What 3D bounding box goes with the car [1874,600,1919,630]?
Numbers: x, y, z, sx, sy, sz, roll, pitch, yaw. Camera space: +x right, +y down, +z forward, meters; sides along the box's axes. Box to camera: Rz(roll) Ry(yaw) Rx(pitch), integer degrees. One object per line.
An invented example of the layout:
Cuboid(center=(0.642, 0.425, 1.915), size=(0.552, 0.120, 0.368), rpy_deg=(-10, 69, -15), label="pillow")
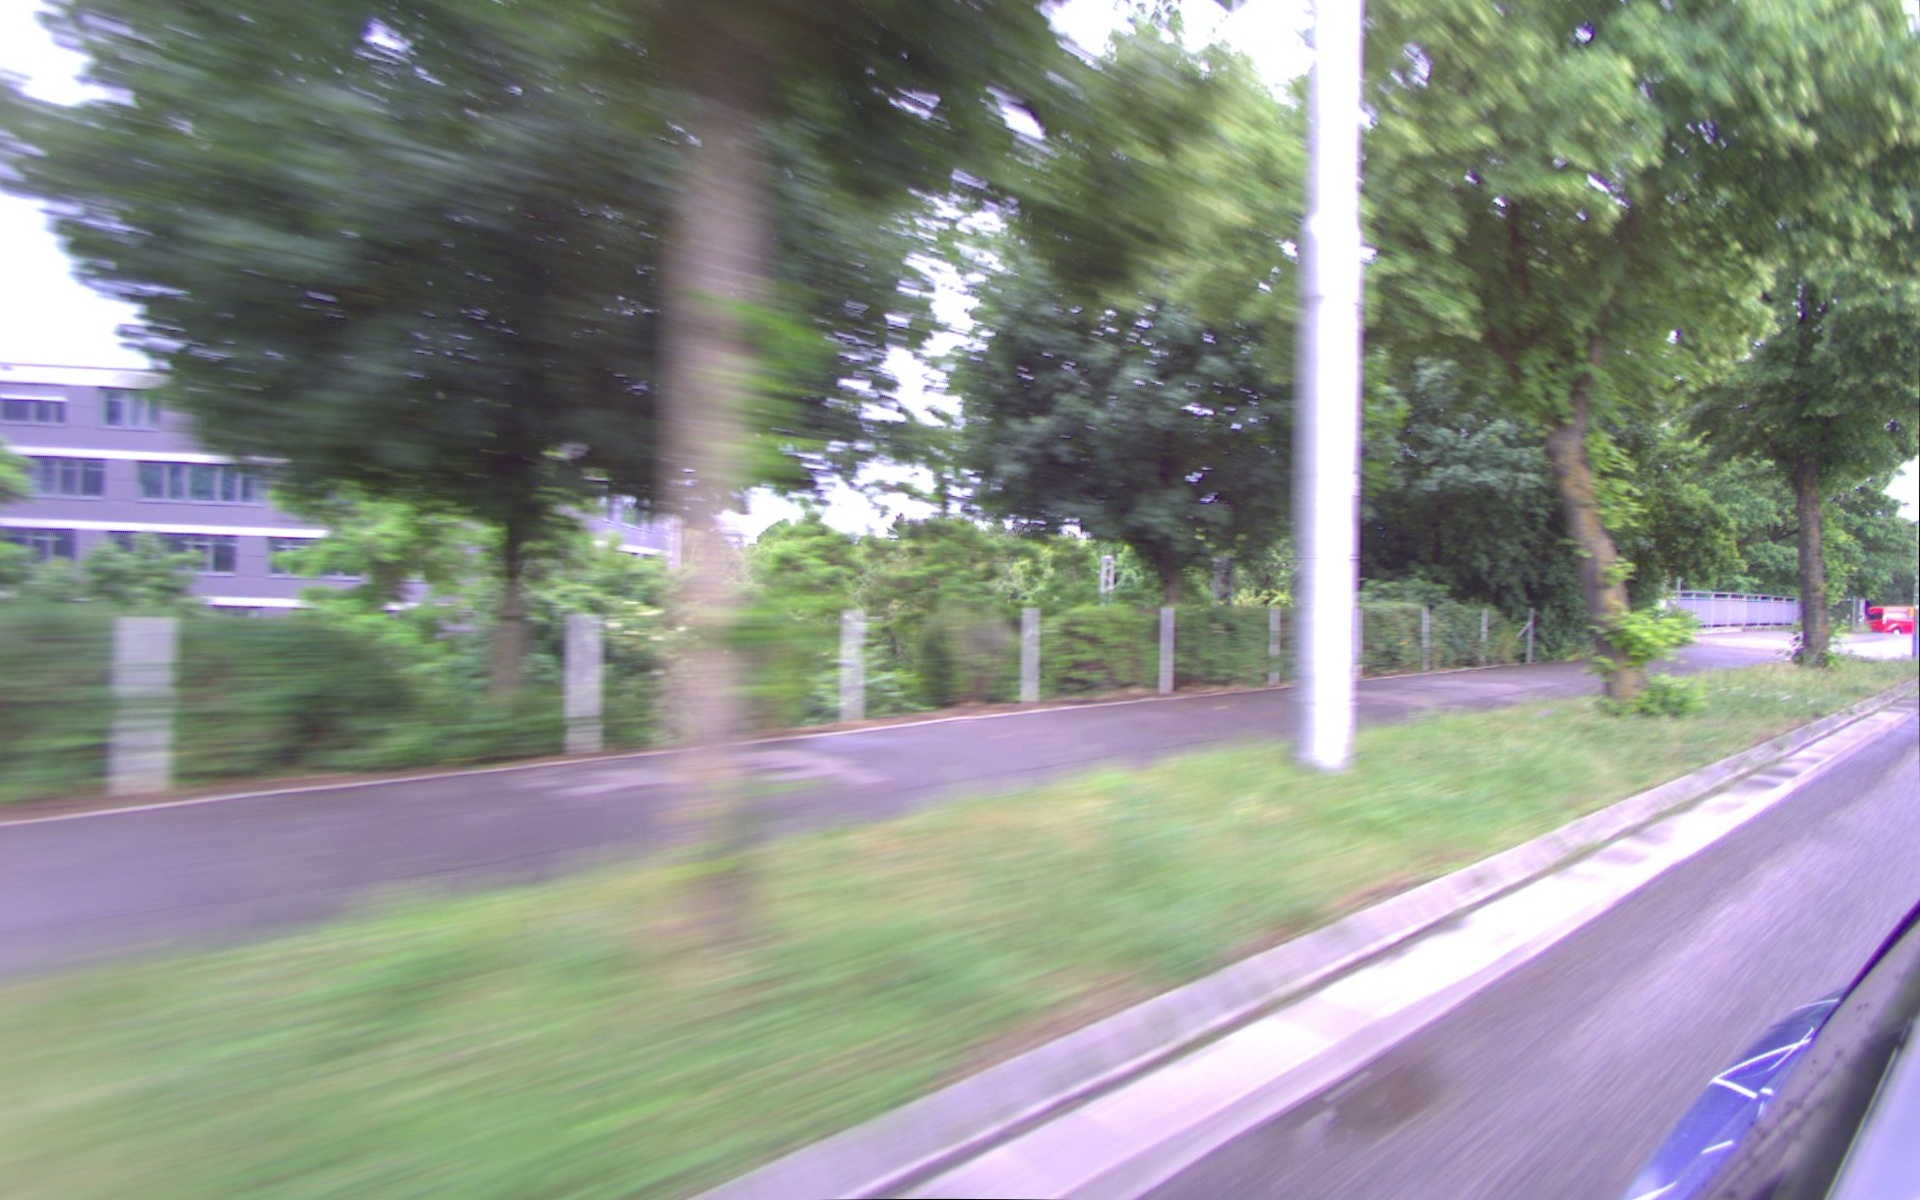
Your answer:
Cuboid(center=(74.120, 1.170, 78.242), size=(4.937, 2.220, 1.999), rpy_deg=(1, 0, 2), label="car")
